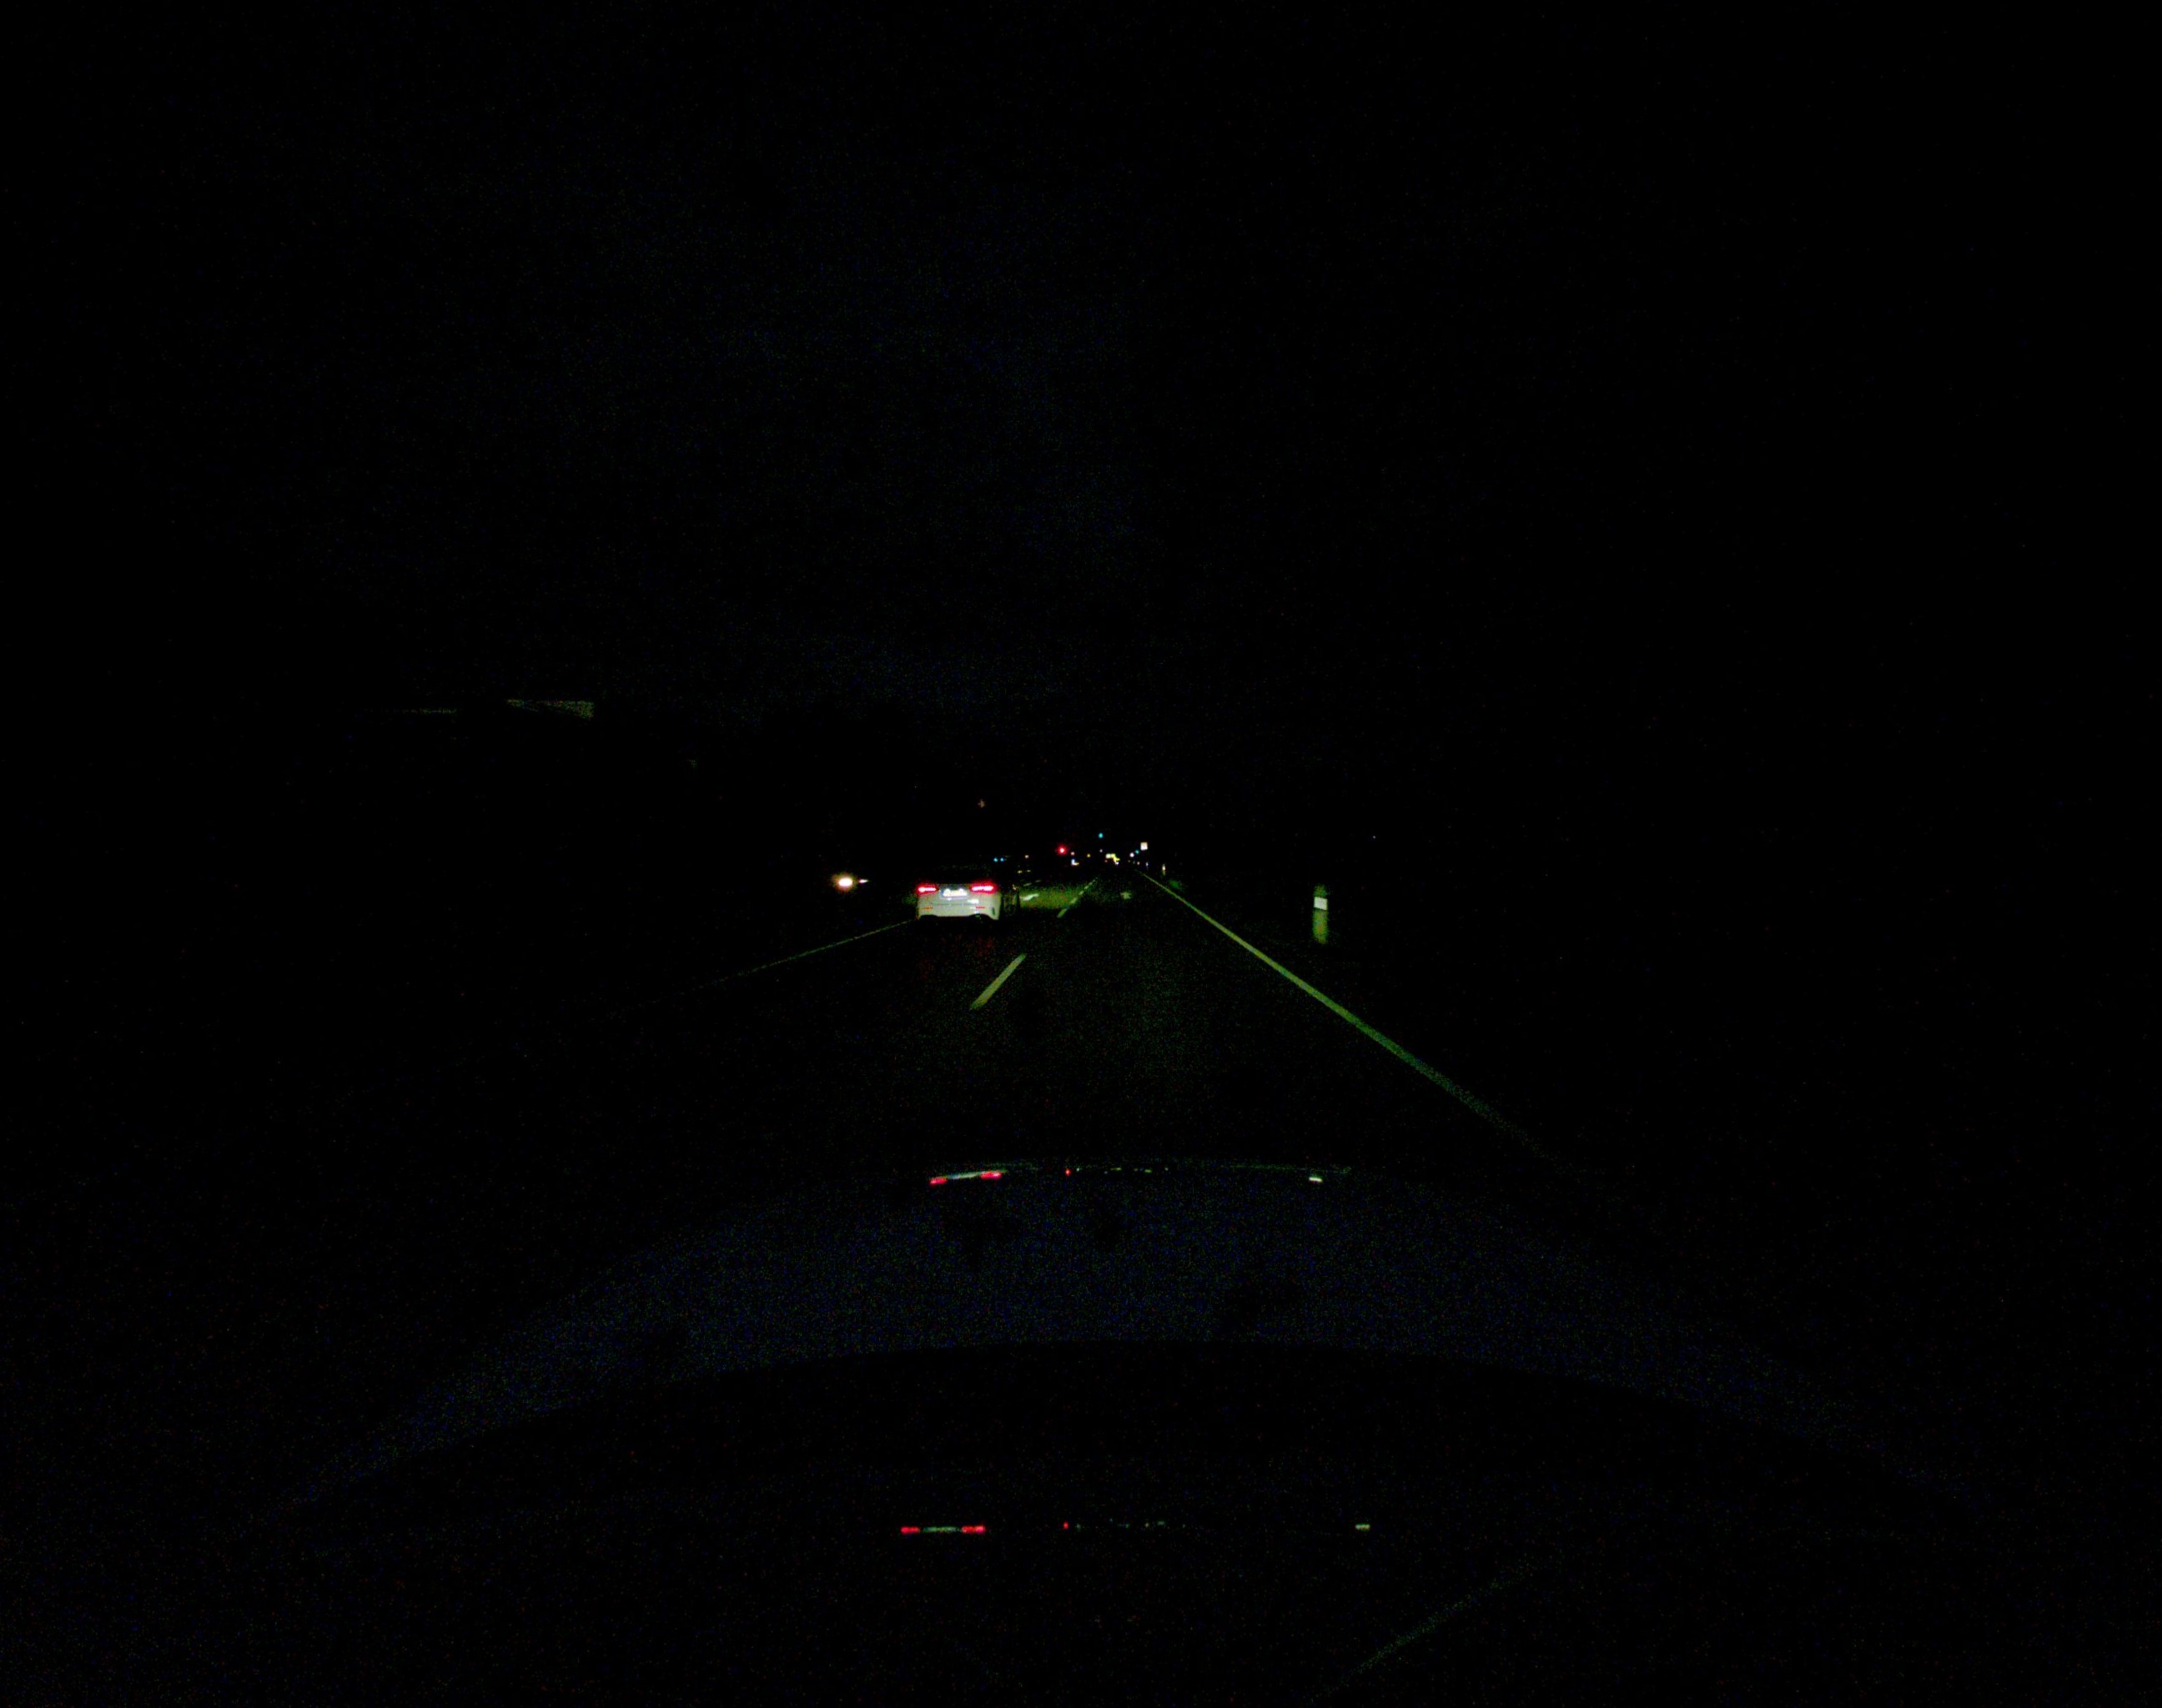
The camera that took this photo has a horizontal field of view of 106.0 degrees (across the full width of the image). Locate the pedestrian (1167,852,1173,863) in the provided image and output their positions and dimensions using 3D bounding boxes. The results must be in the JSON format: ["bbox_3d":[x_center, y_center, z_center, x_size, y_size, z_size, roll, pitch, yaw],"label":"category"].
[{"bbox_3d":[15.864,0.611,145.104,0.918,1.793,1.107,-1,0,2],"label":"pedestrian"}]

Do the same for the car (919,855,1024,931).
[{"bbox_3d":[-2.360,0.788,18.646,1.636,1.490,4.581,-1,0,1],"label":"car"}]

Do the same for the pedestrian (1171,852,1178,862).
[{"bbox_3d":[16.717,0.610,145.132,1.086,1.723,1.261,-1,-1,1],"label":"pedestrian"}]

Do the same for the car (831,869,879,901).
[{"bbox_3d":[-13.795,1.874,49.911,1.663,1.758,4.002,-1,0,2],"label":"car"}]
